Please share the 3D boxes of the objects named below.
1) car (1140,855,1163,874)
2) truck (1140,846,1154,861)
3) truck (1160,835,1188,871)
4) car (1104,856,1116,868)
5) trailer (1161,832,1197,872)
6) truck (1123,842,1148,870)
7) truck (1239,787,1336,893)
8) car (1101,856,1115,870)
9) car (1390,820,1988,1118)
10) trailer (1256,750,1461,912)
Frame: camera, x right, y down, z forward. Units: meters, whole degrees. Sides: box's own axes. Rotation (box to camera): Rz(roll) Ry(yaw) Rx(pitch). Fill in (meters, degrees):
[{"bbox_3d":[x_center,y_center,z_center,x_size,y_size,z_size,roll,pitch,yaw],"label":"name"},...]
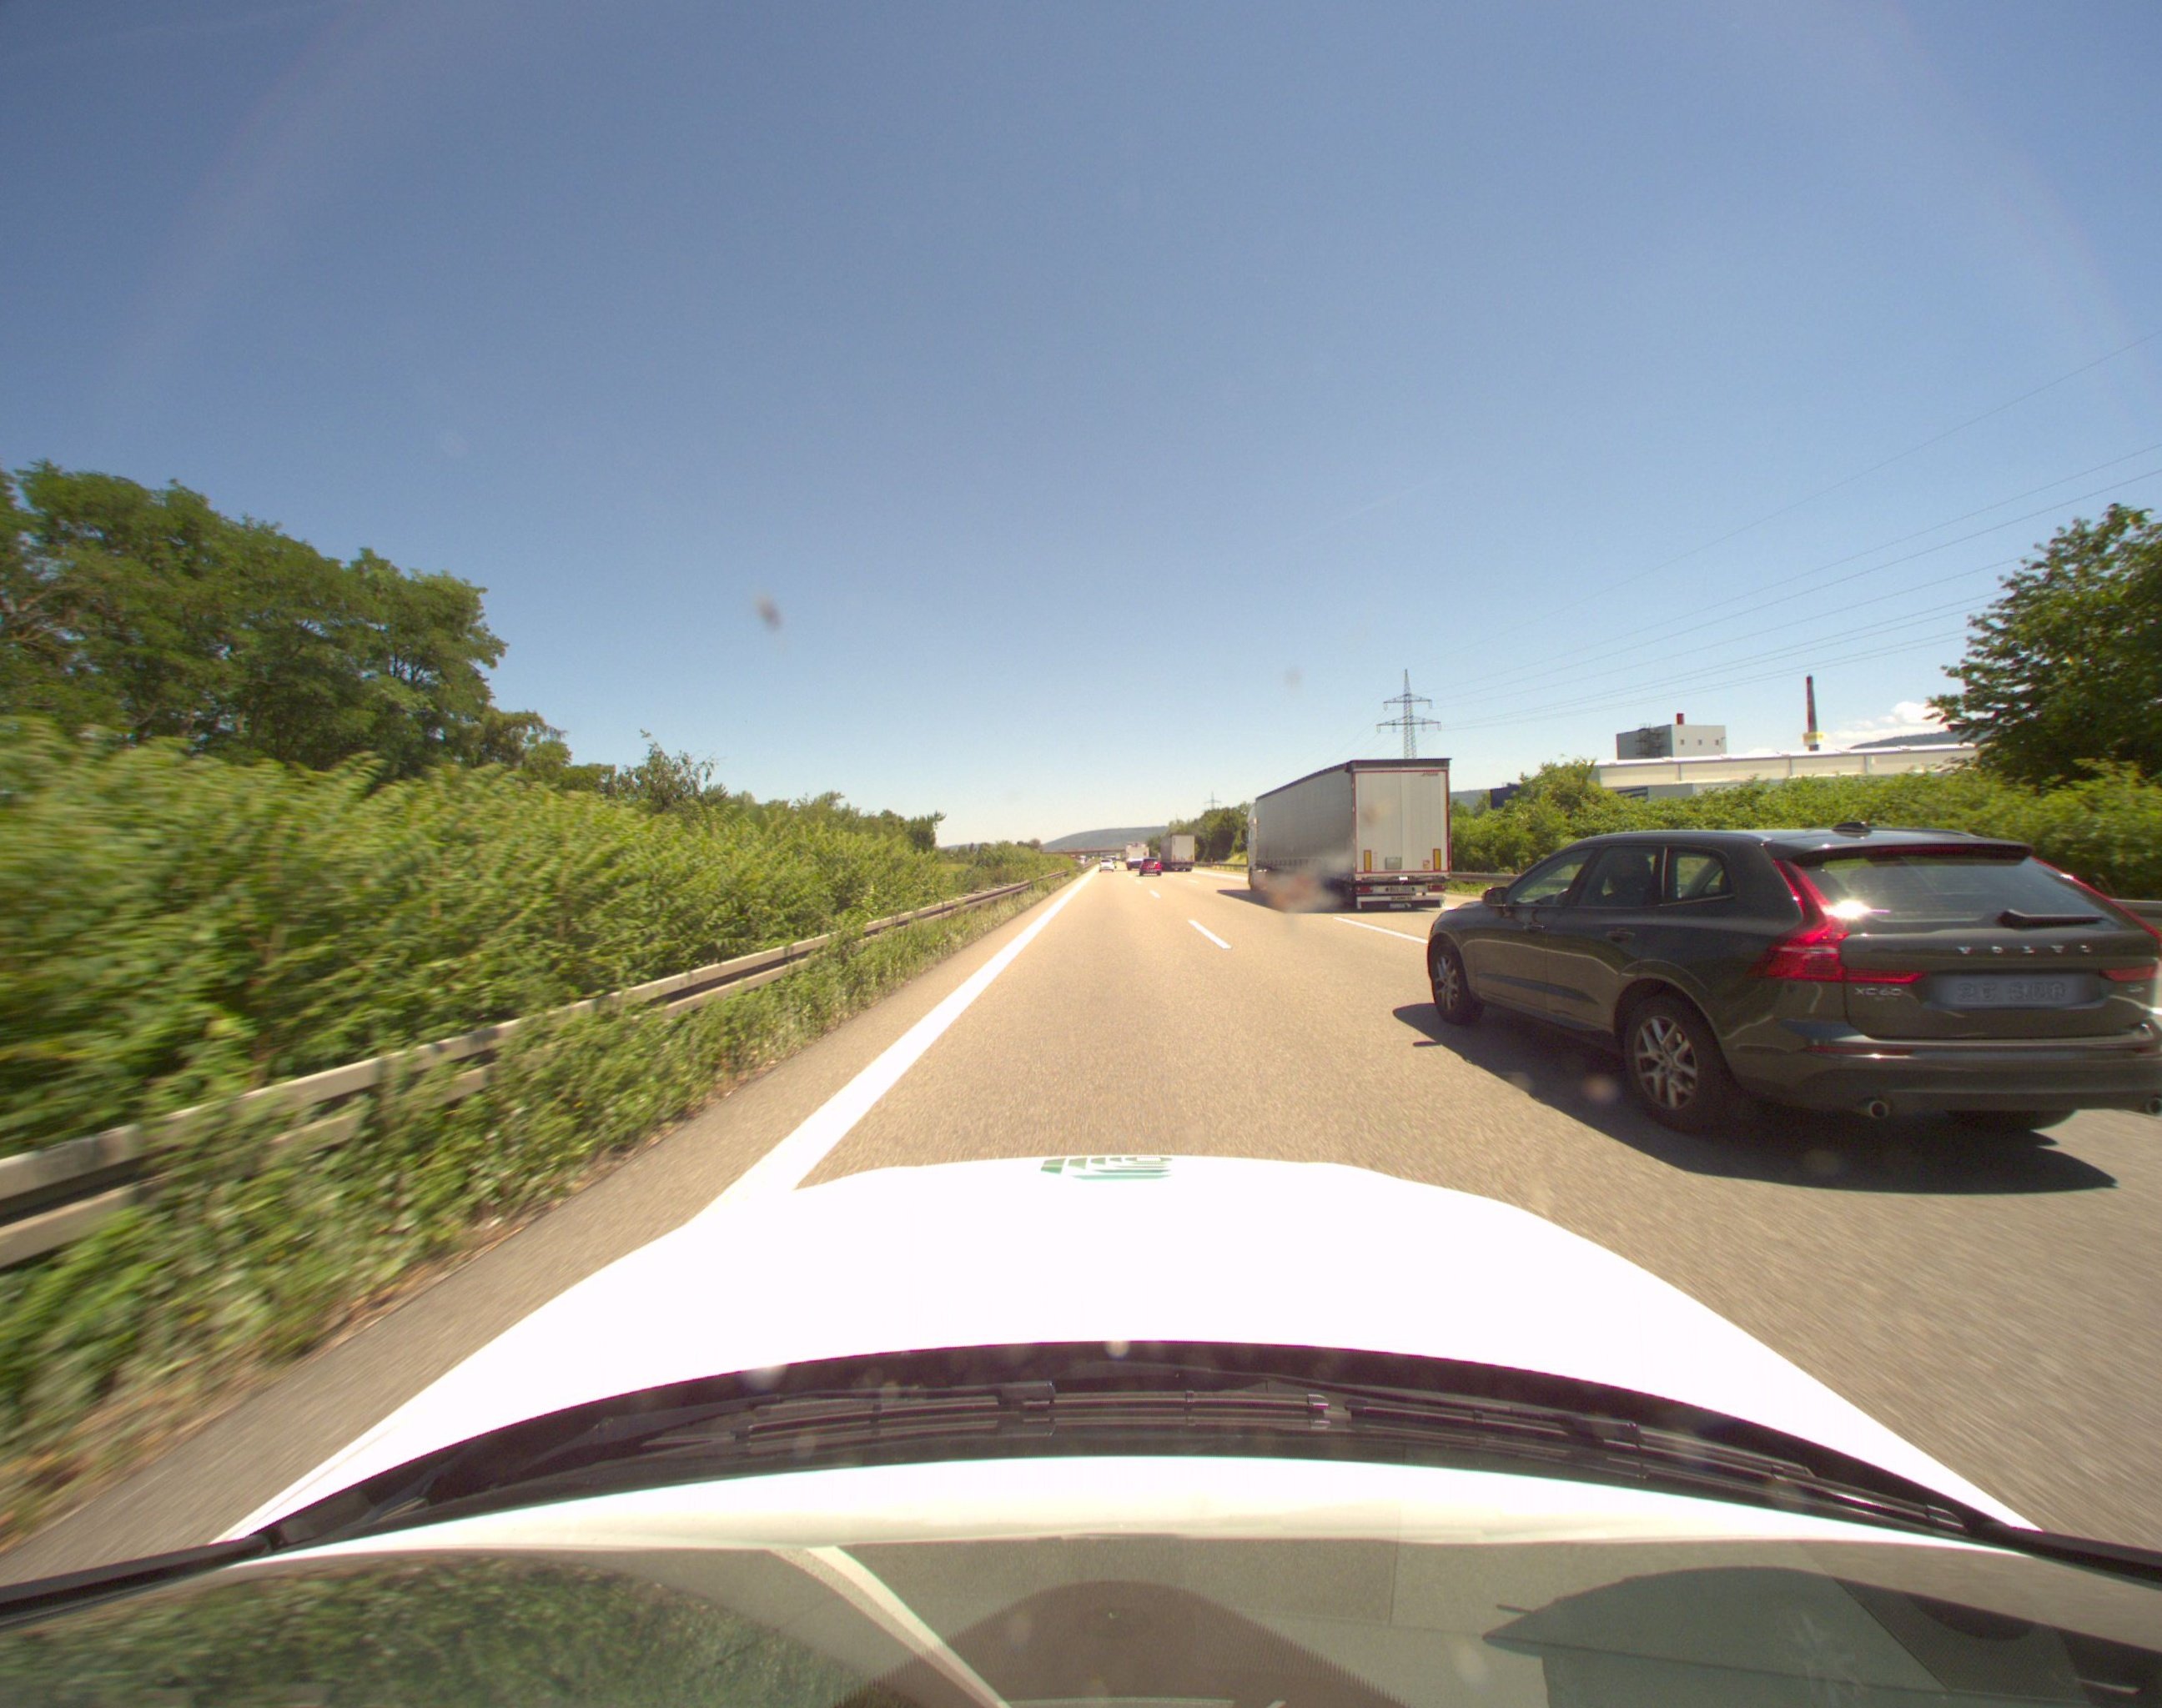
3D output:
[{"bbox_3d":[6.055,0.897,70.446,1.796,1.545,4.002,-1,0,2],"label":"car"},{"bbox_3d":[14.411,-0.127,178.304,2.213,3.209,10.388,-2,0,2],"label":"truck"},{"bbox_3d":[11.188,-0.120,98.742,2.784,4.164,5.725,-2,-1,2],"label":"truck"},{"bbox_3d":[4.509,1.231,125.050,1.754,1.850,4.002,-2,0,2],"label":"car"},{"bbox_3d":[10.902,-0.158,91.850,2.778,4.164,13.581,-2,0,2],"label":"trailer"},{"bbox_3d":[6.859,0.268,103.729,2.772,3.373,8.130,-1,-1,2],"label":"truck"},{"bbox_3d":[8.753,-0.531,35.187,2.726,4.120,6.127,-1,0,2],"label":"truck"},{"bbox_3d":[3.122,1.042,93.951,1.601,1.468,4.002,-2,0,2],"label":"car"},{"bbox_3d":[4.157,0.651,6.555,1.867,1.623,4.005,-1,0,1],"label":"car"},{"bbox_3d":[8.498,-0.548,27.392,2.726,4.106,13.127,-1,0,2],"label":"trailer"}]
